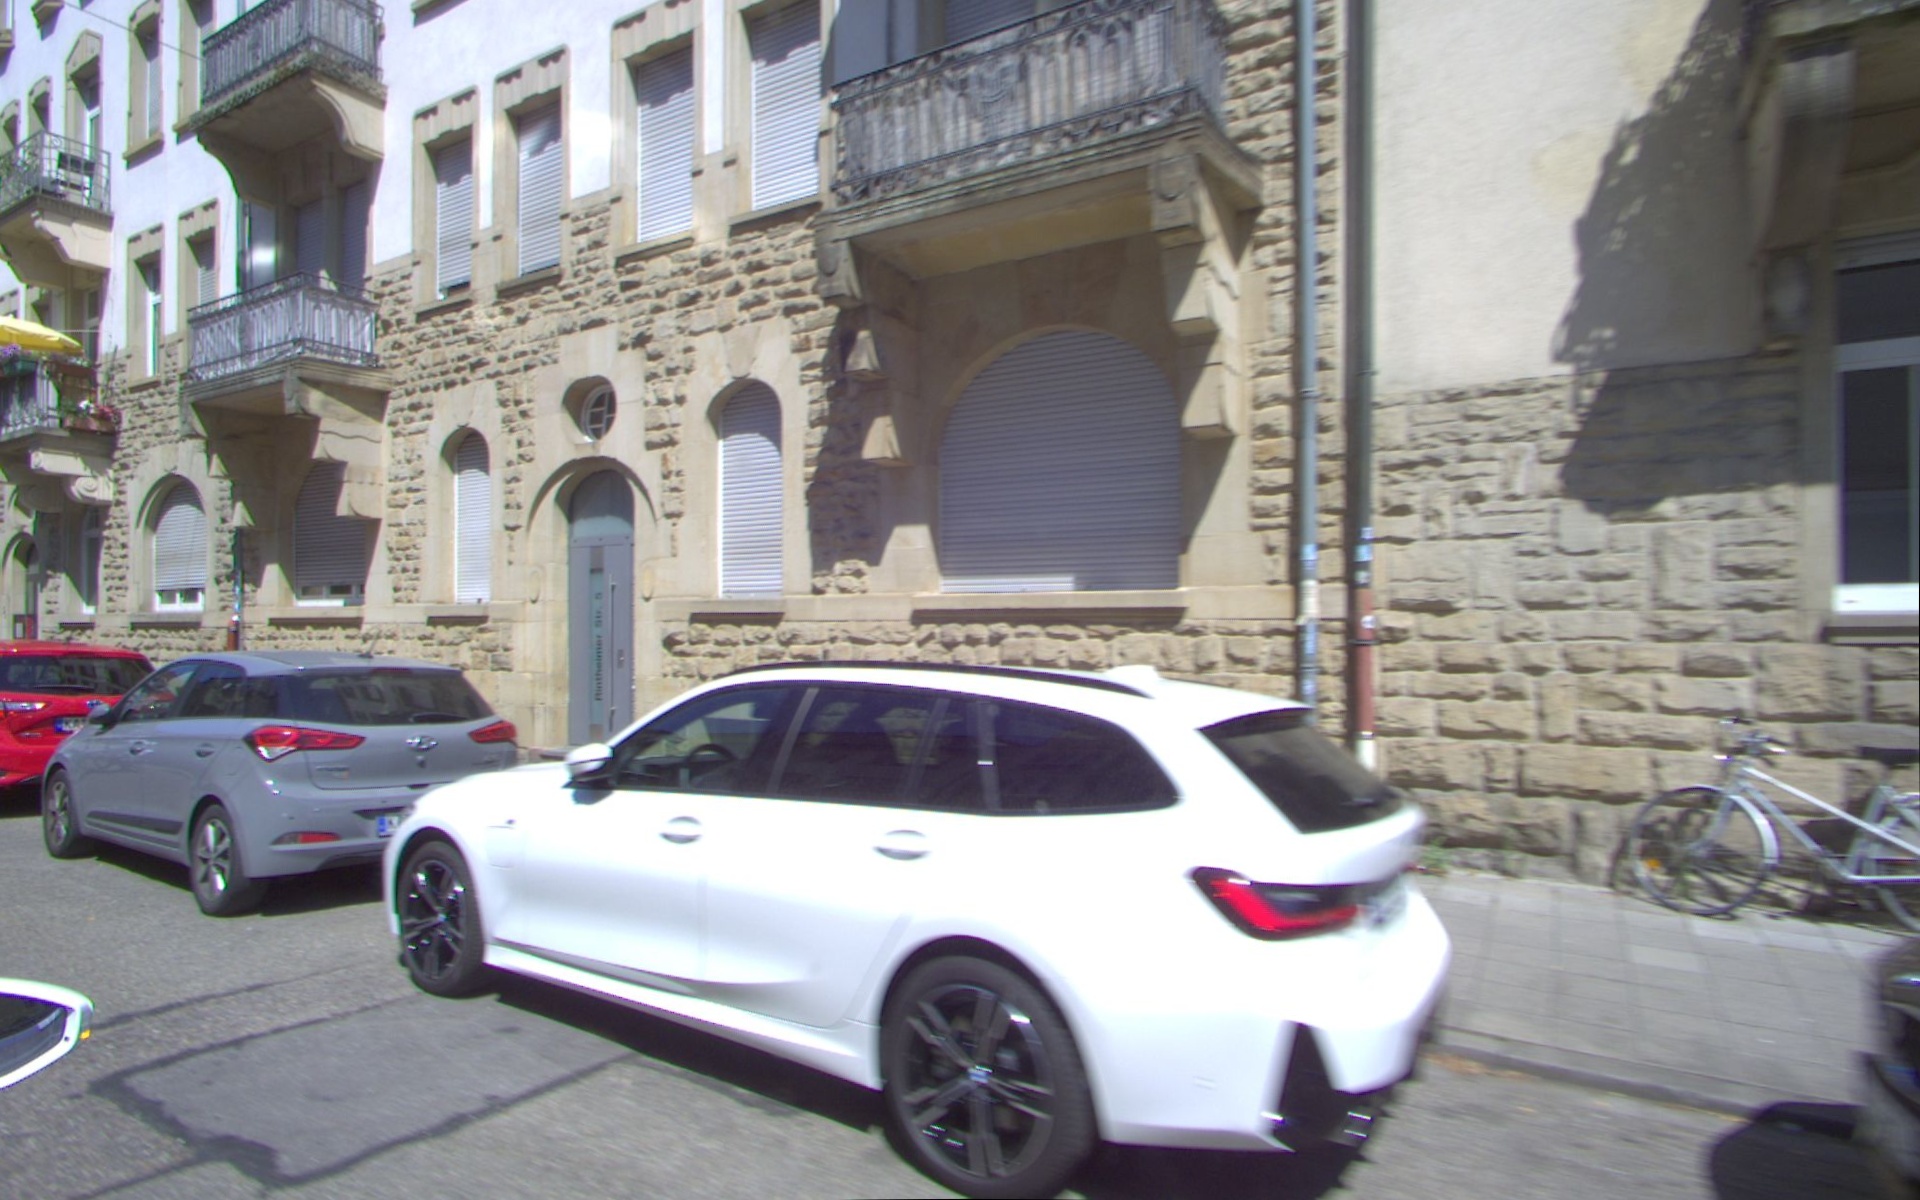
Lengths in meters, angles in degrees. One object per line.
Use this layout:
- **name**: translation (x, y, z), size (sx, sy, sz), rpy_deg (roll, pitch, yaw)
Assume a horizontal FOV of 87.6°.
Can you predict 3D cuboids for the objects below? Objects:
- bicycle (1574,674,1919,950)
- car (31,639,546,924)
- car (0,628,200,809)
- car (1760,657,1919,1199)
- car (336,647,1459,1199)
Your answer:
- **bicycle**: translation (4.371, 1.031, 5.118), size (2.095, 1.206, 0.638), rpy_deg (-1, 2, 33)
- **car**: translation (-4.766, 1.042, 6.976), size (3.802, 1.470, 1.587), rpy_deg (-1, -4, 33)
- **car**: translation (-9.157, 1.035, 9.678), size (3.787, 1.470, 1.569), rpy_deg (-1, -4, 31)
- **car**: translation (4.065, 0.863, 1.232), size (4.601, 1.476, 1.734), rpy_deg (-1, -1, 32)
- **car**: translation (-0.550, 0.971, 4.152), size (4.533, 1.470, 1.714), rpy_deg (-1, -4, 34)
